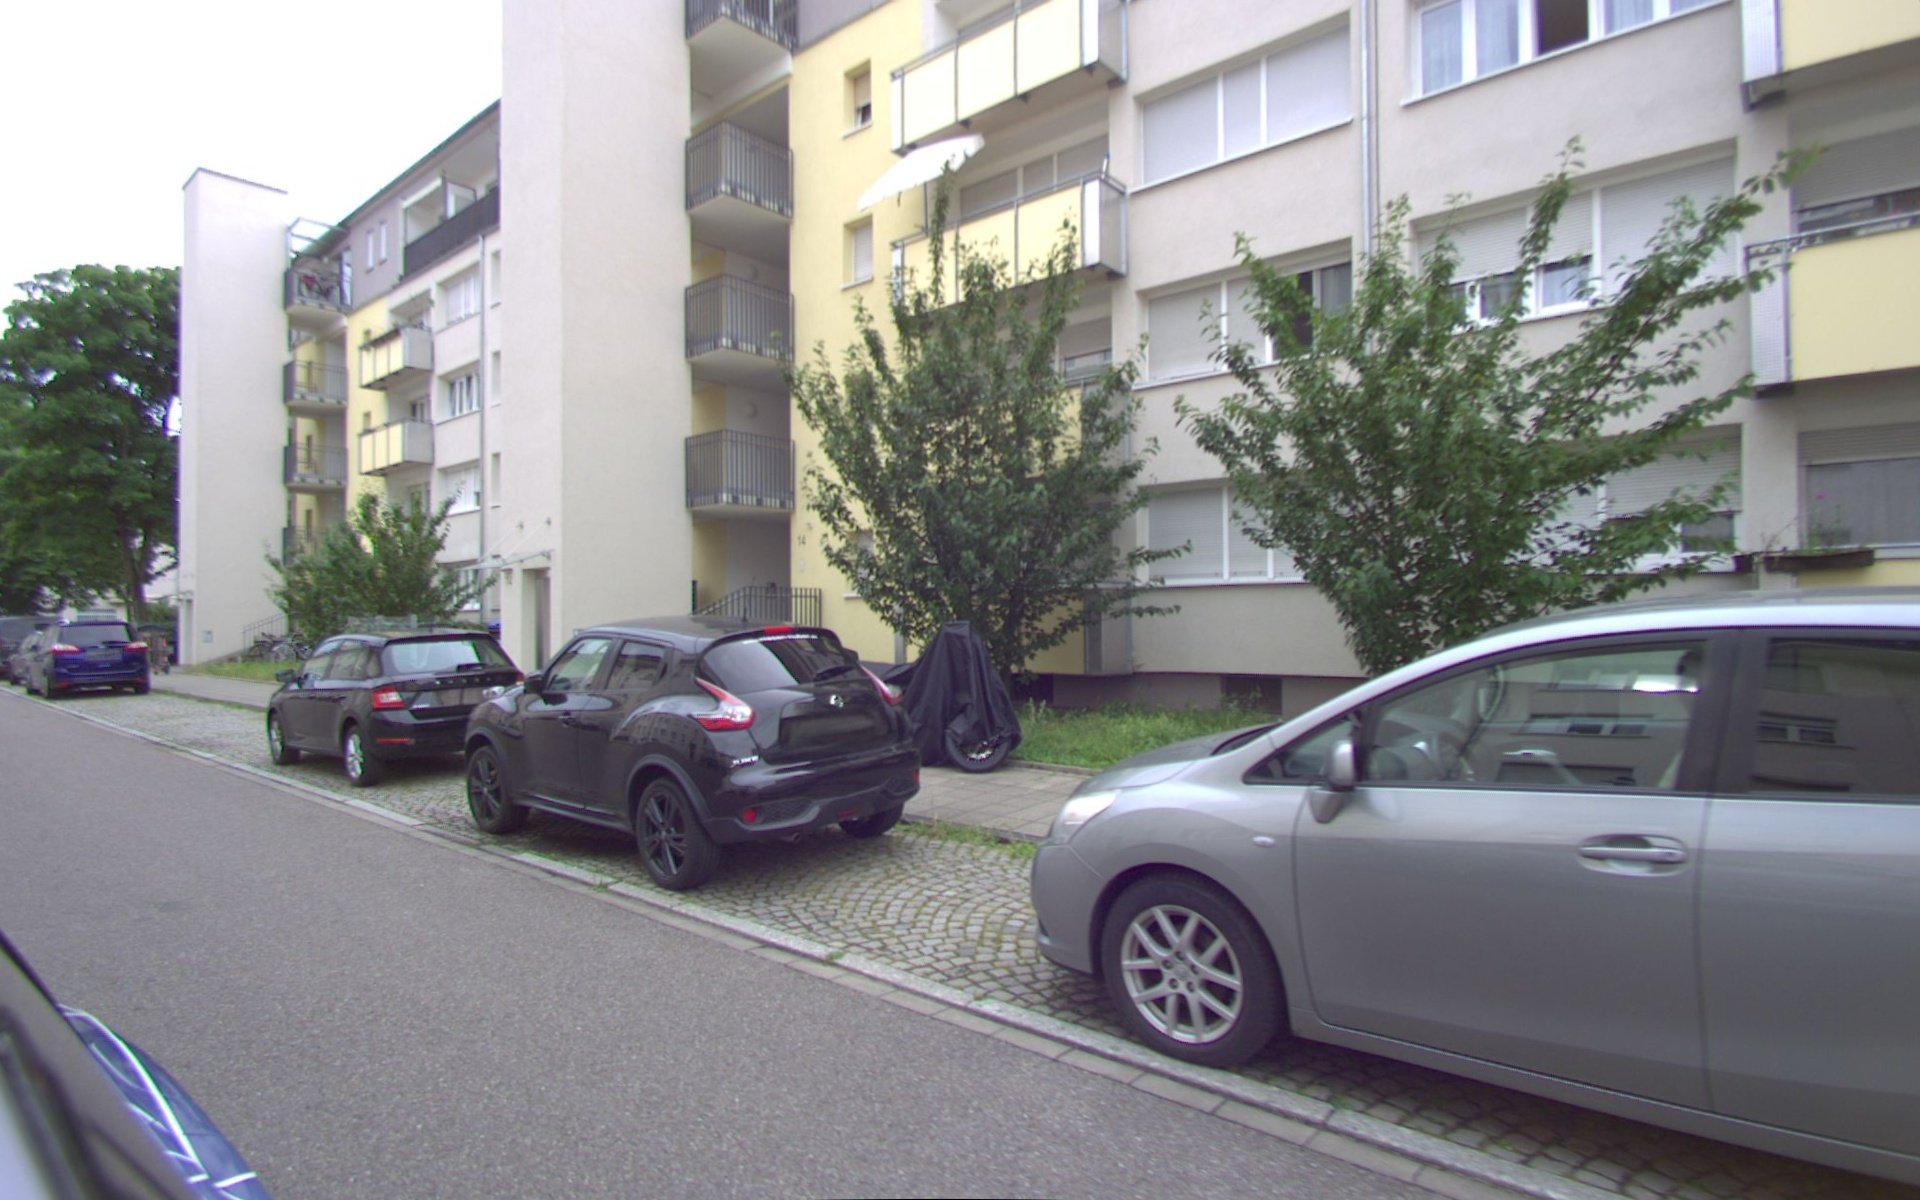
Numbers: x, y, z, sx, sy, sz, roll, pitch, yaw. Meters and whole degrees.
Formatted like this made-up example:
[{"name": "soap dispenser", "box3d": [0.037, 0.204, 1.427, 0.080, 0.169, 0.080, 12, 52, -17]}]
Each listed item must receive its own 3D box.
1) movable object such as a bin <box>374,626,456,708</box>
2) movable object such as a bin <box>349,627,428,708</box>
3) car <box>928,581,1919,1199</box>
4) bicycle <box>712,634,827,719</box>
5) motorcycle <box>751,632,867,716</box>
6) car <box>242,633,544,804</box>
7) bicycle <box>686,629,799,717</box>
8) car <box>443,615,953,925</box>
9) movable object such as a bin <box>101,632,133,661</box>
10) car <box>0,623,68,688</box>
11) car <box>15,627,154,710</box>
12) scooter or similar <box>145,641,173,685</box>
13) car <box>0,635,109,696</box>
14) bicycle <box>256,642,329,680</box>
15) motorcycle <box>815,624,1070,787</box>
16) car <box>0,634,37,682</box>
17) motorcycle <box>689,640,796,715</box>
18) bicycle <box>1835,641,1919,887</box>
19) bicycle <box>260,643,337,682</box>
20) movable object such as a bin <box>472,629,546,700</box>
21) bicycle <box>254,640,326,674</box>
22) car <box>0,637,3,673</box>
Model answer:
[{"name": "movable object such as a bin", "box3d": [-10.320, 1.243, 19.156, 1.314, 1.458, 0.991, -2, -1, 42]}, {"name": "movable object such as a bin", "box3d": [-11.373, 1.309, 20.130, 1.314, 1.512, 0.991, -2, -1, 42]}, {"name": "car", "box3d": [2.340, 0.755, 3.247, 4.856, 1.582, 1.817, -2, 0, 39]}, {"name": "bicycle", "box3d": [-2.755, 1.085, 14.786, 0.608, 1.151, 1.707, -2, -2, 36]}, {"name": "motorcycle", "box3d": [-2.141, 1.035, 14.529, 0.593, 1.138, 1.732, -2, -3, 37]}, {"name": "car", "box3d": [-6.196, 1.119, 10.884, 3.854, 1.449, 1.626, -2, 0, 41]}, {"name": "bicycle", "box3d": [-3.239, 1.062, 15.206, 0.608, 1.234, 1.707, -2, -3, 36]}, {"name": "car", "box3d": [-2.033, 0.927, 7.132, 3.895, 1.542, 1.635, -2, 0, 43]}, {"name": "movable object such as a bin", "box3d": [-43.684, 2.404, 52.437, 0.889, 1.487, 1.168, -2, -3, 44]}, {"name": "car", "box3d": [-29.026, 1.674, 31.006, 4.782, 1.869, 1.867, -2, -2, 40]}, {"name": "car", "box3d": [-19.816, 1.475, 22.836, 4.469, 1.639, 1.781, -2, -1, 41]}, {"name": "scooter or similar", "box3d": [-23.295, 1.811, 29.424, 1.135, 1.253, 0.432, -2, -3, 41]}, {"name": "car", "box3d": [-24.143, 1.692, 26.854, 3.813, 1.456, 1.605, -2, -1, 38]}, {"name": "bicycle", "box3d": [-21.024, 1.904, 31.904, 1.829, 1.146, 0.717, 2, -3, -42]}, {"name": "motorcycle", "box3d": [-0.225, 0.915, 9.508, 2.419, 1.317, 0.860, -2, -1, 41]}, {"name": "car", "box3d": [-32.949, 1.960, 34.547, 3.610, 1.580, 1.604, -2, -3, 40]}, {"name": "motorcycle", "box3d": [-3.441, 1.202, 16.126, 0.689, 1.138, 1.600, -2, -3, 37]}, {"name": "bicycle", "box3d": [5.390, 0.800, 4.848, 1.723, 1.201, 0.547, -1, -3, 34]}, {"name": "bicycle", "box3d": [-20.012, 1.872, 30.646, 0.715, 1.146, 1.834, -2, -3, 38]}, {"name": "movable object such as a bin", "box3d": [-9.700, 1.357, 21.764, 1.314, 1.458, 0.991, -2, -1, 42]}, {"name": "bicycle", "box3d": [-21.473, 1.819, 32.462, 1.829, 1.028, 0.671, 2, -3, -42]}, {"name": "car", "box3d": [-40.417, 2.266, 40.971, 4.430, 1.450, 1.895, -2, 0, 40]}]
